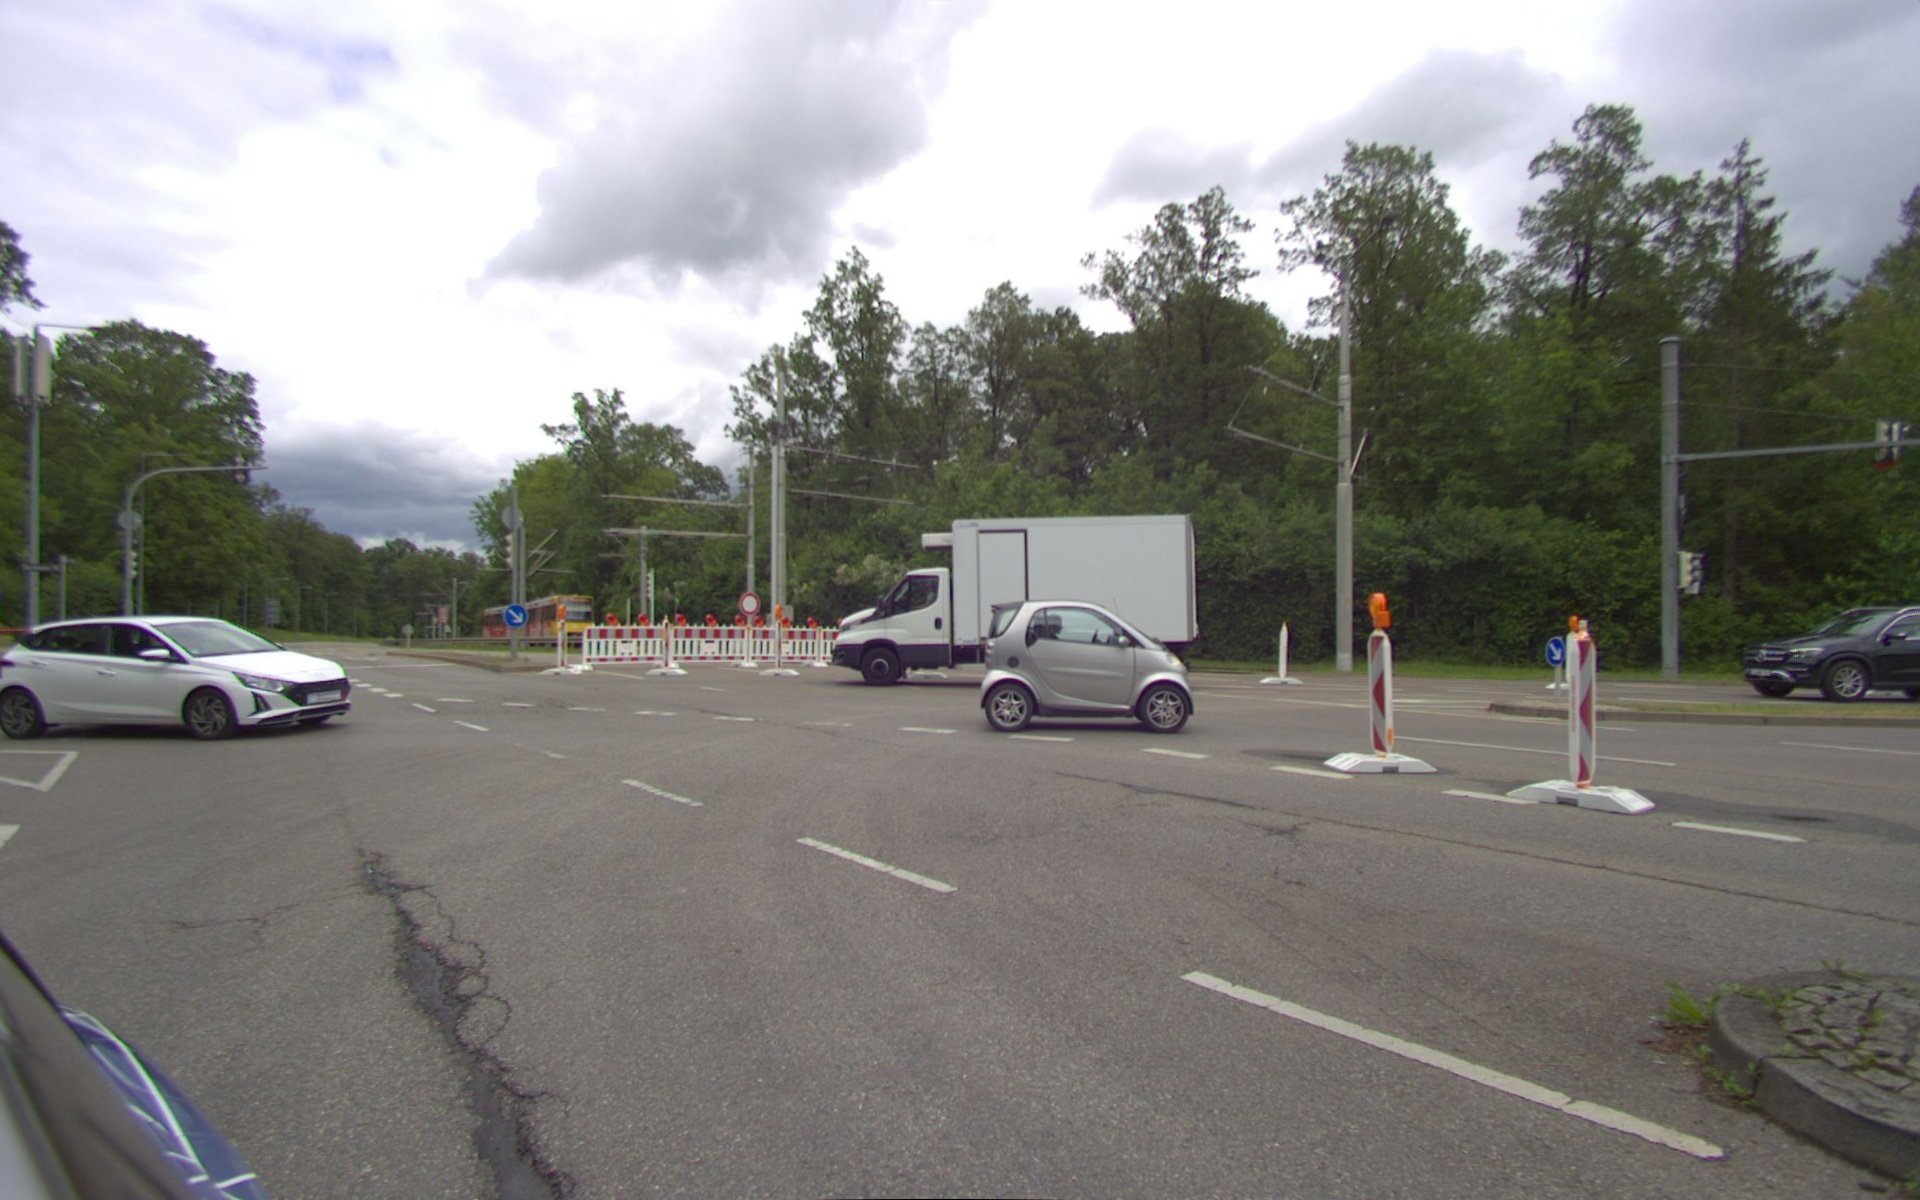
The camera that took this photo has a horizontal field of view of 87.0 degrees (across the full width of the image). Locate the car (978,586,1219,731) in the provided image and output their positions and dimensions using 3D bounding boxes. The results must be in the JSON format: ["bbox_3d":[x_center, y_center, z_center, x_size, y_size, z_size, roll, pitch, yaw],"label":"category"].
[{"bbox_3d":[1.617,0.678,12.169,2.693,1.598,1.460,0,-2,5],"label":"car"}]

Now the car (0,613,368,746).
[{"bbox_3d":[-9.845,0.936,12.647,4.024,1.490,1.651,0,-2,7],"label":"car"}]

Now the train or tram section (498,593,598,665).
[{"bbox_3d":[-30.825,1.923,74.927,2.907,4.685,18.594,2,-1,-34],"label":"train or tram section"}]

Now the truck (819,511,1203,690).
[{"bbox_3d":[0.966,0.031,19.917,7.060,3.249,2.454,1,-2,3],"label":"truck"}]

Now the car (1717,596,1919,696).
[{"bbox_3d":[17.417,0.845,19.028,4.779,1.763,1.967,0,-1,1],"label":"car"}]
